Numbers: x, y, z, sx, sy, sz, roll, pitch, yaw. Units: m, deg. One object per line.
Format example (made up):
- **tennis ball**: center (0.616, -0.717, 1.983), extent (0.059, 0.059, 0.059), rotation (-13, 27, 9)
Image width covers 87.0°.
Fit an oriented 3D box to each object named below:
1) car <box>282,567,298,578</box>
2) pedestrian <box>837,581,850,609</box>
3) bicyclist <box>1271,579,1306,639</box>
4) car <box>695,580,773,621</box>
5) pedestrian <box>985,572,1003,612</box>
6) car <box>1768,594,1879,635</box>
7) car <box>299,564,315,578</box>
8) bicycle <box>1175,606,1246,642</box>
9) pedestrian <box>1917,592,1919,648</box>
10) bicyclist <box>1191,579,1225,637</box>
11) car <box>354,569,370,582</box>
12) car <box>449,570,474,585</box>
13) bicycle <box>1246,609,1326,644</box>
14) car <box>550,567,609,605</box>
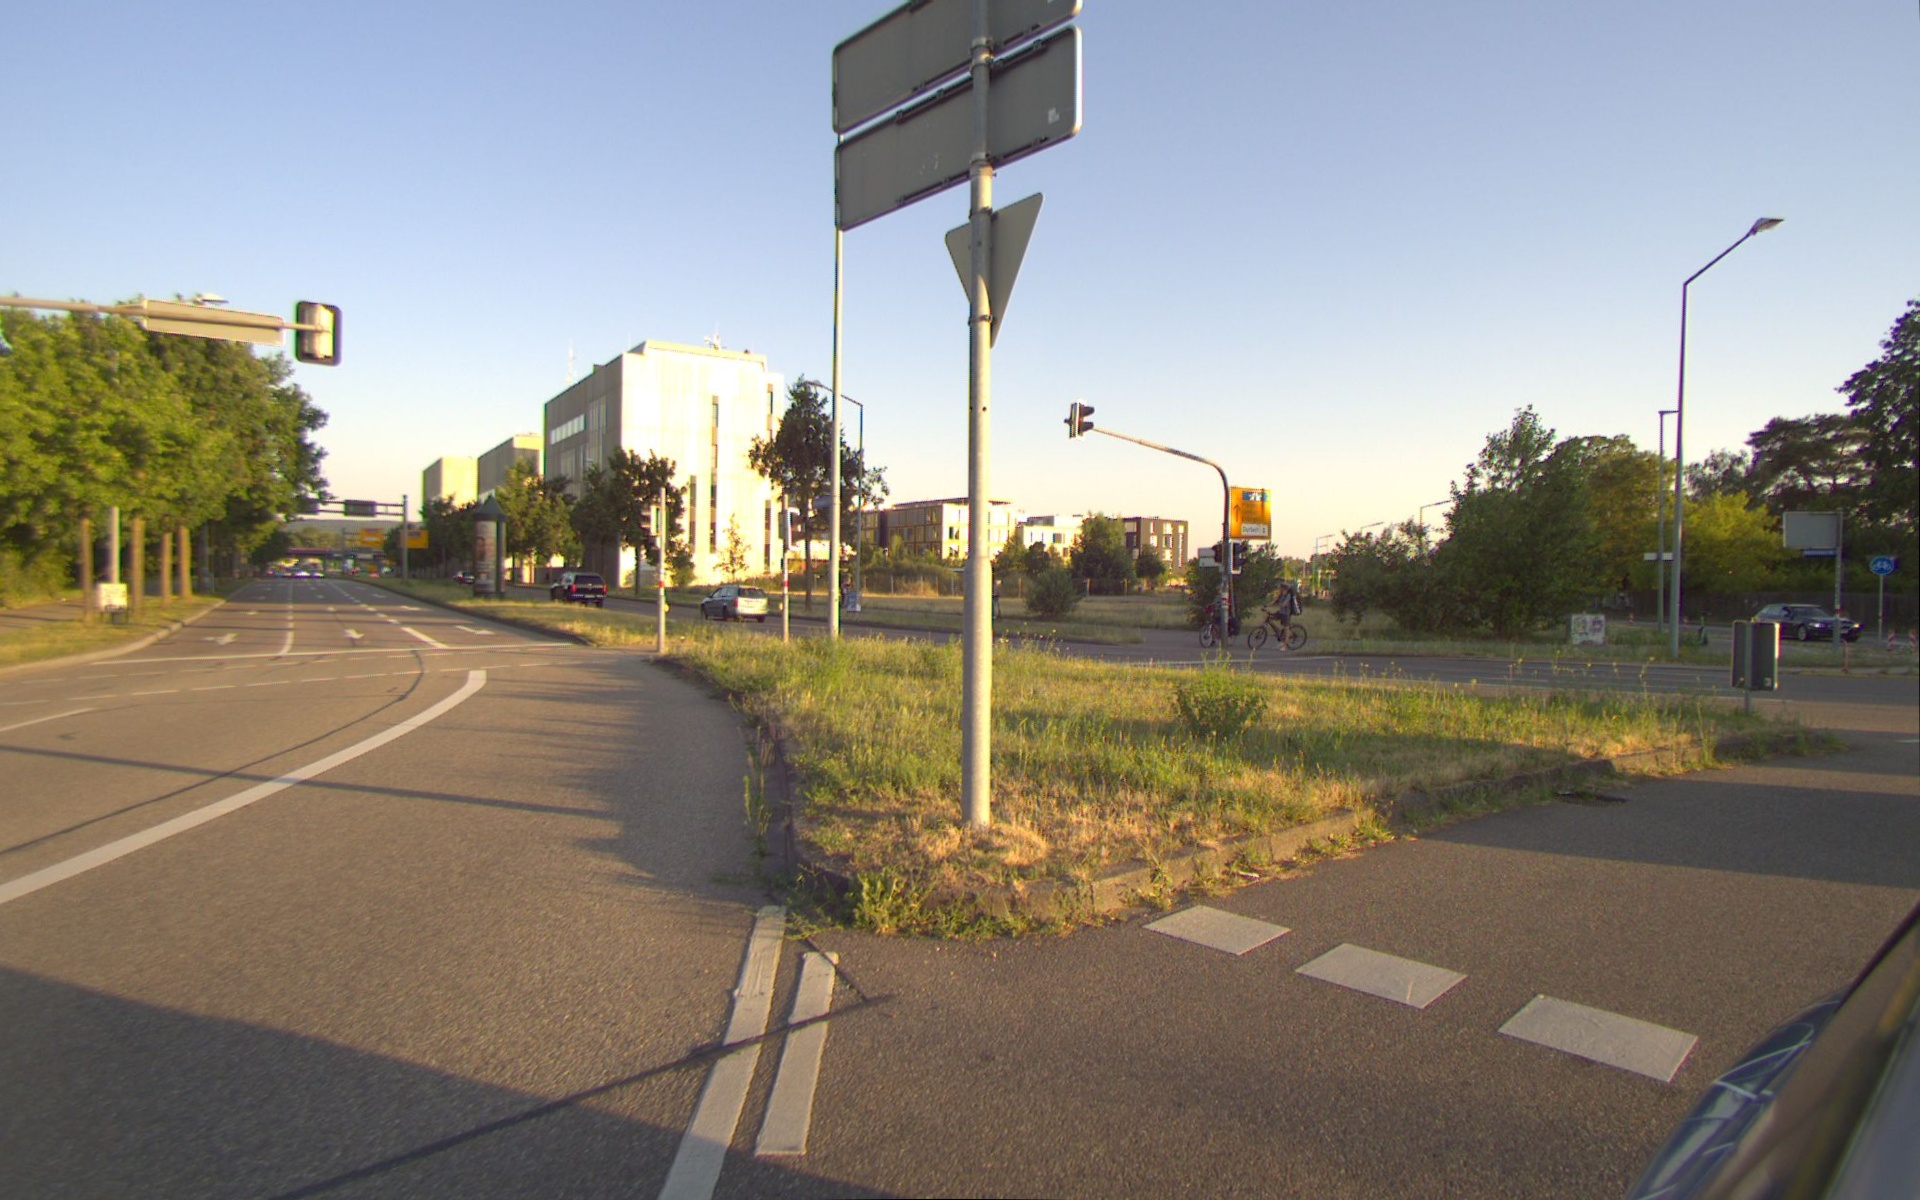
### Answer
- **car**: center (-108.773, -4.449, 164.290), extent (1.963, 1.803, 3.998), rotation (0, 0, -37)
- **pedestrian**: center (-6.561, -0.290, 56.927), extent (0.492, 1.531, 0.531), rotation (1, 0, -32)
- **bicyclist**: center (9.478, 0.248, 29.229), extent (0.675, 1.711, 0.726), rotation (1, 0, -11)
- **car**: center (-9.297, -0.026, 41.413), extent (1.726, 1.566, 4.000), rotation (0, 1, -35)
- **pedestrian**: center (1.454, -0.364, 43.653), extent (0.555, 1.705, 0.520), rotation (1, 1, -32)
- **car**: center (35.355, 0.552, 41.570), extent (1.972, 1.504, 3.980), rotation (1, 1, 16)
- **car**: center (-99.015, -4.405, 153.385), extent (1.961, 2.039, 4.001), rotation (0, 0, -34)
- **bicycle**: center (7.527, 0.696, 30.403), extent (2.064, 0.975, 0.711), rotation (-2, 2, -24)
- **pedestrian**: center (28.229, 0.592, 28.879), extent (0.978, 1.610, 0.922), rotation (1, 1, 15)
- **bicyclist**: center (7.441, 0.244, 30.390), extent (0.675, 1.711, 0.726), rotation (1, 1, -26)
- **car**: center (-91.722, -3.736, 155.220), extent (1.960, 2.039, 4.004), rotation (0, 1, -31)
- **car**: center (-50.135, -2.244, 101.779), extent (1.718, 1.396, 4.127), rotation (0, 1, -34)
- **bicycle**: center (9.403, 0.770, 29.210), extent (2.100, 0.975, 0.711), rotation (1, 1, -12)
- **car**: center (-20.073, -0.781, 53.247), extent (1.960, 1.835, 5.312), rotation (3, 0, -30)
